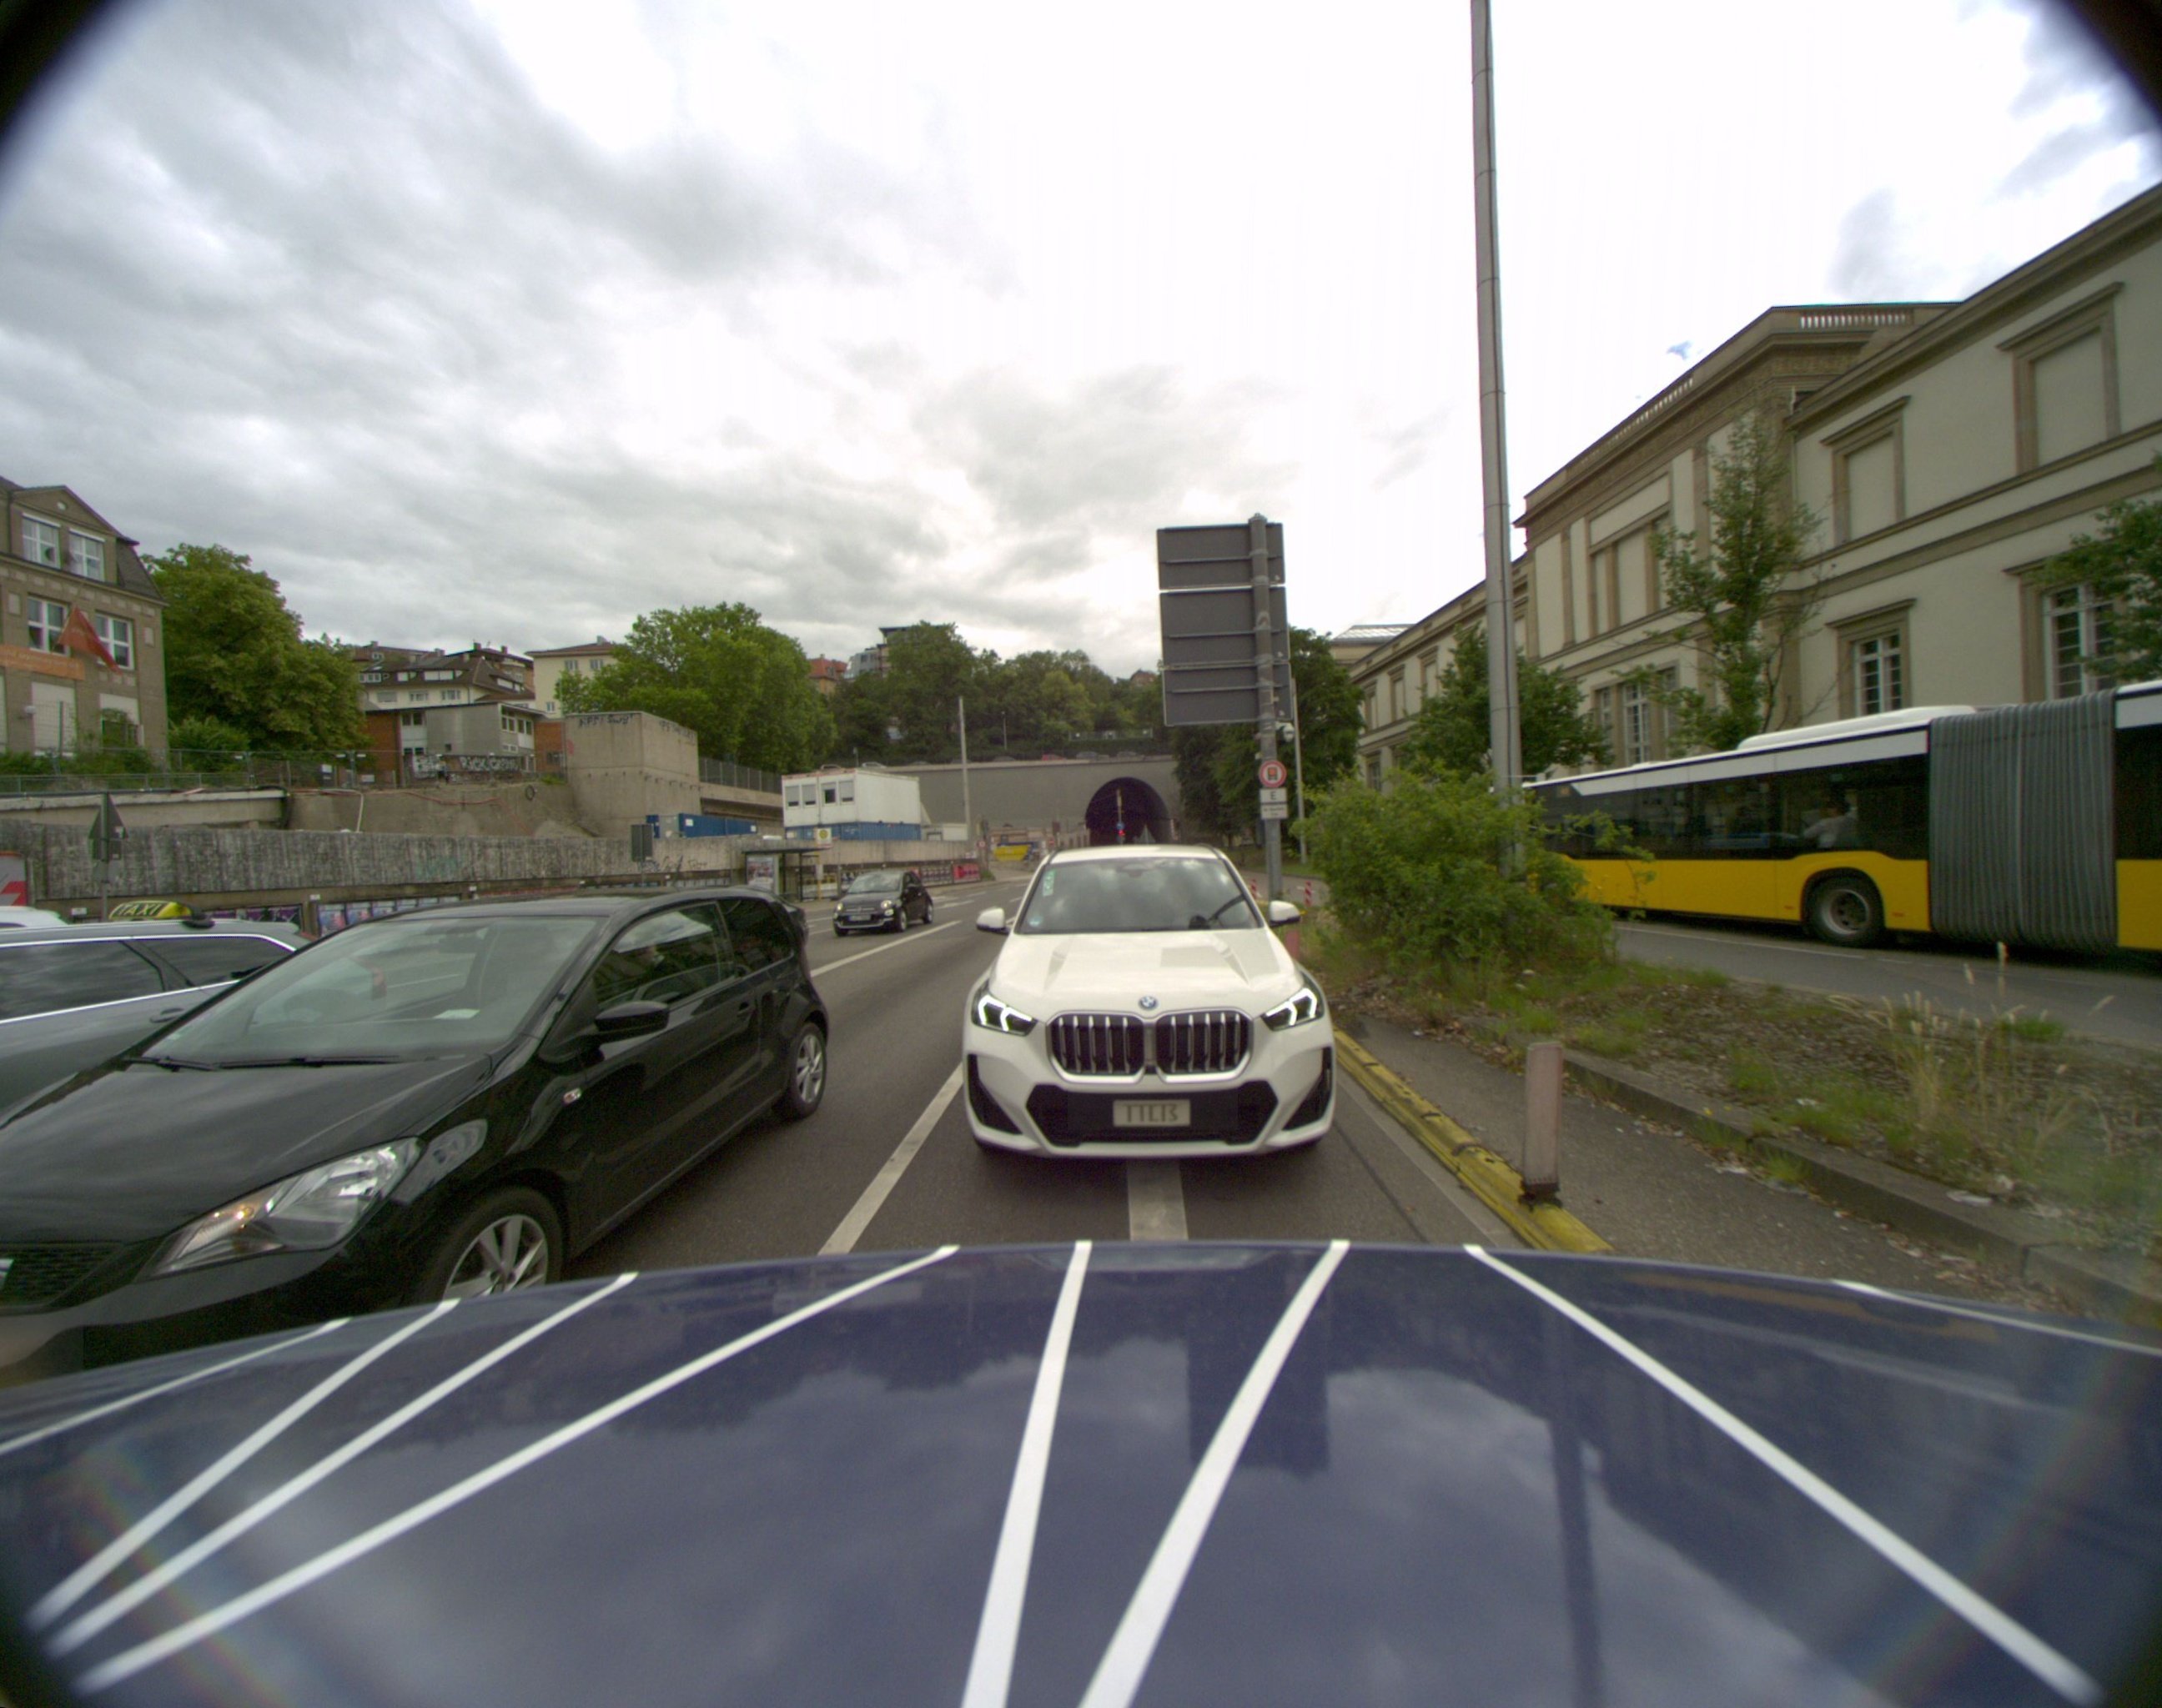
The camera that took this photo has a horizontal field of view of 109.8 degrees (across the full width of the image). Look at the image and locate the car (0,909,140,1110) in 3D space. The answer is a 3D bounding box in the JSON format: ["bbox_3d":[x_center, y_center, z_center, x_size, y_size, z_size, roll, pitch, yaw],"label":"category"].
[{"bbox_3d":[-9.152,1.263,4.579,1.826,1.457,4.073,-2,1,0],"label":"car"}]

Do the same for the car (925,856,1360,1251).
[{"bbox_3d":[0.338,0.853,5.122,1.756,1.547,3.911,-2,1,3],"label":"car"}]

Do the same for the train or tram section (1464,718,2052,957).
[{"bbox_3d":[11.151,-0.220,14.523,2.701,3.053,9.375,-1,0,-1],"label":"train or tram section"}]

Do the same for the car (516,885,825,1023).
[{"bbox_3d":[-5.401,1.231,10.760,1.826,1.356,4.219,-2,0,4],"label":"car"}]

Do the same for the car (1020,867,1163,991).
[{"bbox_3d":[0.220,0.996,11.598,1.756,1.427,3.911,-2,0,3],"label":"car"}]

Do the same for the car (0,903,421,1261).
[{"bbox_3d":[-5.826,1.147,3.454,1.826,1.457,4.217,-2,1,2],"label":"car"}]

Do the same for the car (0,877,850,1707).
[{"bbox_3d":[-2.531,0.983,3.275,1.661,1.547,3.911,-2,1,3],"label":"car"}]

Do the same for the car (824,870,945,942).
[{"bbox_3d":[-4.756,1.203,18.952,1.720,1.450,3.782,-3,0,4],"label":"car"}]

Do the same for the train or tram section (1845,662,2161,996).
[{"bbox_3d":[11.244,-0.248,5.177,2.700,3.053,9.336,-1,0,0],"label":"train or tram section"}]

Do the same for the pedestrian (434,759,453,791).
[{"bbox_3d":[-36.965,-4.578,44.065,0.554,1.784,0.570,-2,1,12],"label":"pedestrian"}]
